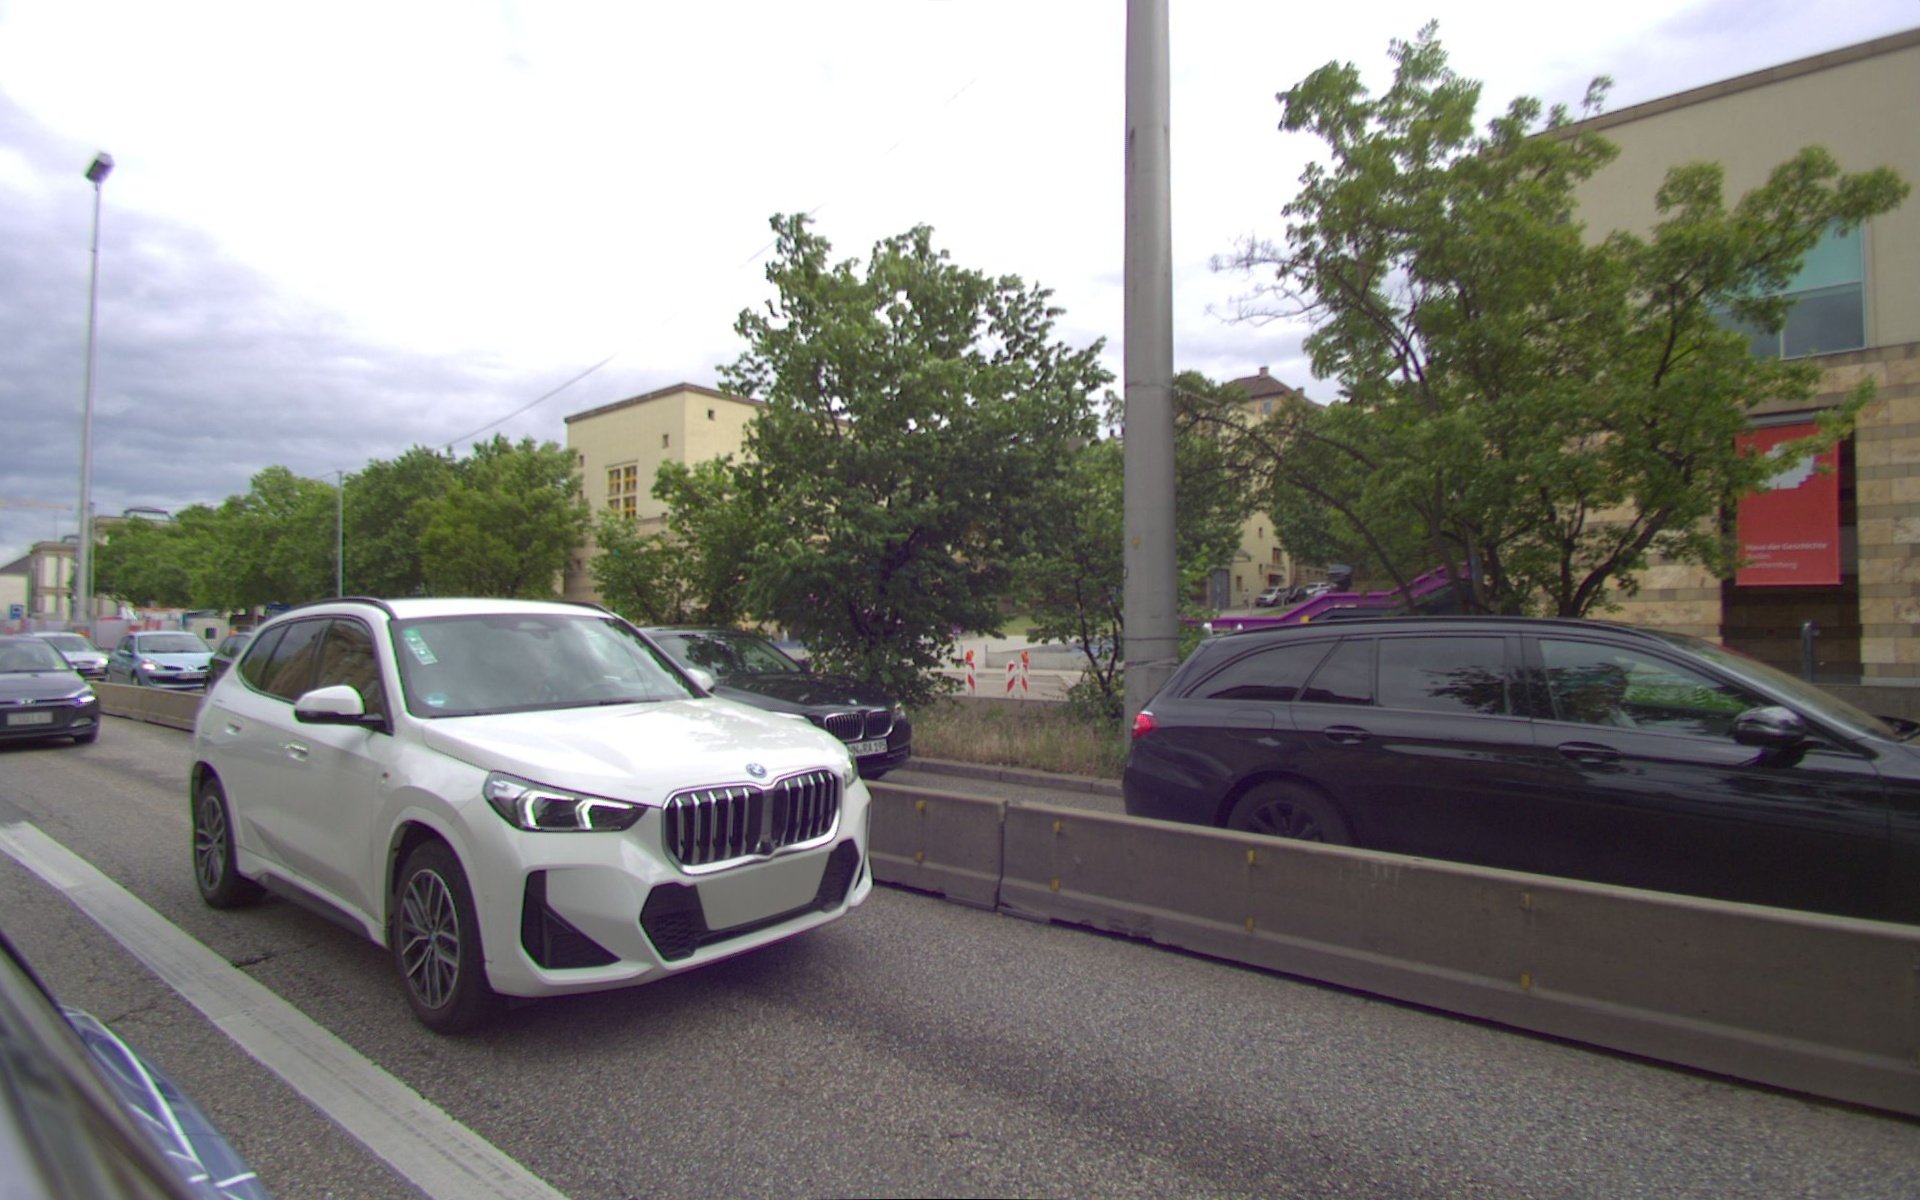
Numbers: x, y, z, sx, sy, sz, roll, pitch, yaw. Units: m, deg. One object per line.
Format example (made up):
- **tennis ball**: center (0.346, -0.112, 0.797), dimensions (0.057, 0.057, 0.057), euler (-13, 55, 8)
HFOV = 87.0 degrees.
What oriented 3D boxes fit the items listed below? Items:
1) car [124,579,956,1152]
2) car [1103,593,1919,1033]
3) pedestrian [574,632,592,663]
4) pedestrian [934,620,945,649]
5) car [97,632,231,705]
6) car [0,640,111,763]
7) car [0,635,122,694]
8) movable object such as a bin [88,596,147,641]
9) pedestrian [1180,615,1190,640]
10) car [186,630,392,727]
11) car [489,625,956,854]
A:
- **car**: center (-2.486, 0.807, 5.181), dimensions (4.901, 1.640, 1.833), euler (-1, -2, 39)
- **car**: center (3.182, 0.779, 4.785), dimensions (4.765, 1.511, 1.797), euler (-2, -3, 41)
- **pedestrian**: center (-24.928, 3.131, 66.928), dimensions (0.814, 2.029, 0.836), euler (-1, -1, 41)
- **pedestrian**: center (-1.217, 2.018, 59.940), dimensions (0.526, 1.708, 0.338), euler (-2, -2, 40)
- **car**: center (-18.331, 1.499, 23.247), dimensions (3.851, 1.518, 1.655), euler (-1, -2, 40)
- **car**: center (-13.176, 1.296, 13.614), dimensions (4.012, 1.448, 1.781), euler (-1, -2, 36)
- **car**: center (-25.265, 1.721, 27.949), dimensions (4.688, 1.492, 1.864), euler (-1, -2, 31)
- **movable object such as a bin**: center (-42.679, 0.987, 51.256), dimensions (3.286, 2.202, 1.508), euler (-2, -3, 36)
- **pedestrian**: center (16.280, 2.004, 73.231), dimensions (0.477, 1.762, 0.638), euler (-2, -2, 39)
- **car**: center (-11.607, 1.252, 17.408), dimensions (4.190, 1.465, 1.644), euler (-1, -2, 37)
- **car**: center (-2.497, 1.075, 9.713), dimensions (4.935, 1.648, 1.903), euler (-2, -2, 42)
